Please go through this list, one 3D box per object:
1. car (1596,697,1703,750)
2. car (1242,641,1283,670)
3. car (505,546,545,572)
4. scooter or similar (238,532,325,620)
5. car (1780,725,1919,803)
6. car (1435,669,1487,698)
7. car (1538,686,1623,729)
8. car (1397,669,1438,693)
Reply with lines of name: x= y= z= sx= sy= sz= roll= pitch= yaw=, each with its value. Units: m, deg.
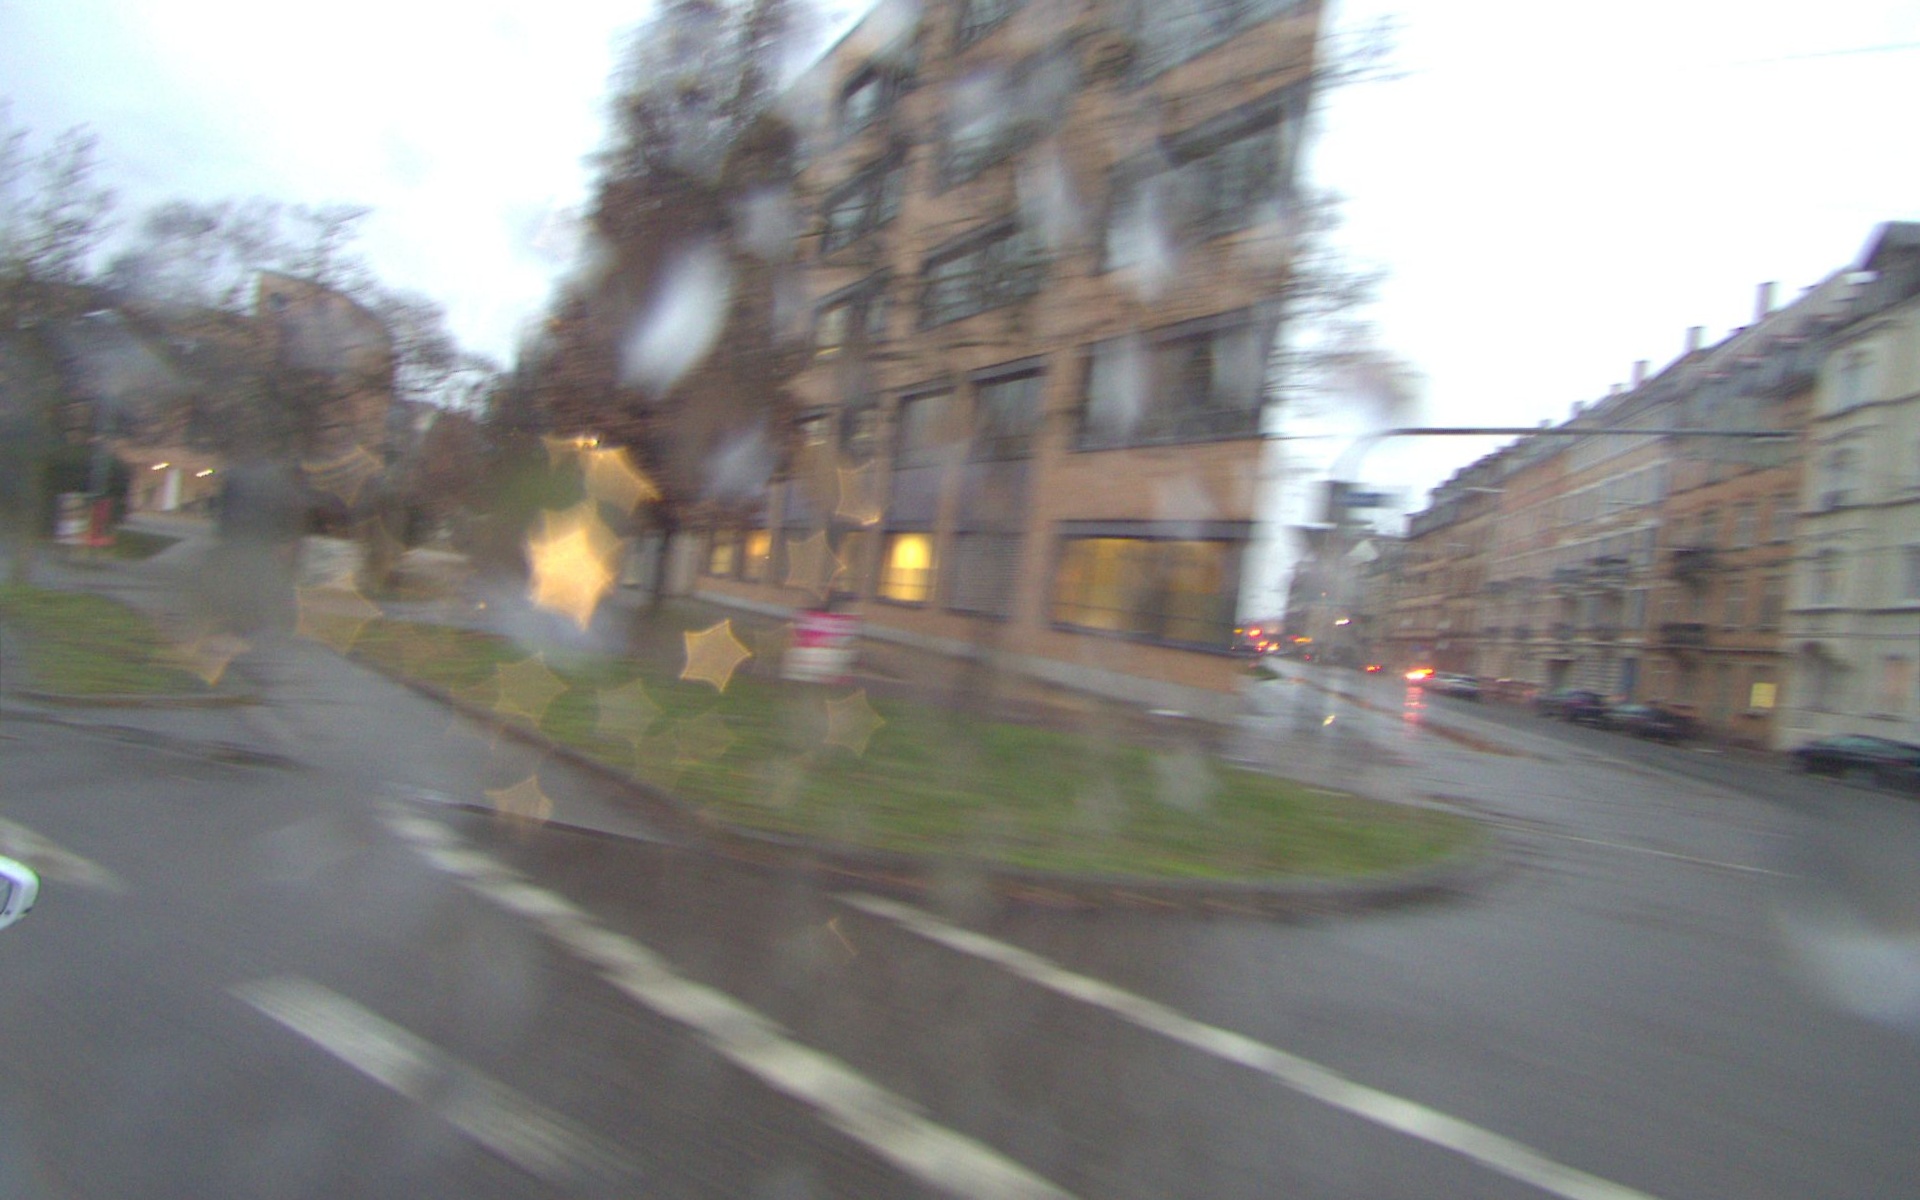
car: x=28.212 y=5.015 z=41.347 sx=1.962 sy=1.458 sz=4.514 roll=8 pitch=0 yaw=13
car: x=18.488 y=3.367 z=61.673 sx=1.962 sy=1.458 sz=3.927 roll=8 pitch=0 yaw=13
car: x=-26.745 y=-2.531 z=61.858 sx=1.656 sy=1.195 sz=3.676 roll=8 pitch=0 yaw=-32
scooter or similar: x=-10.447 y=-0.364 z=15.525 sx=0.479 sy=1.247 sz=1.144 roll=7 pitch=1 yaw=-3
car: x=25.025 y=4.512 z=27.587 sx=1.962 sy=1.458 sz=4.514 roll=8 pitch=0 yaw=13
car: x=33.869 y=5.632 z=68.098 sx=1.962 sy=1.458 sz=4.514 roll=8 pitch=0 yaw=13
car: x=29.574 y=5.083 z=48.113 sx=1.962 sy=1.458 sz=4.514 roll=8 pitch=0 yaw=13
car: x=36.343 y=6.424 z=80.059 sx=1.962 sy=1.458 sz=4.514 roll=8 pitch=0 yaw=13
